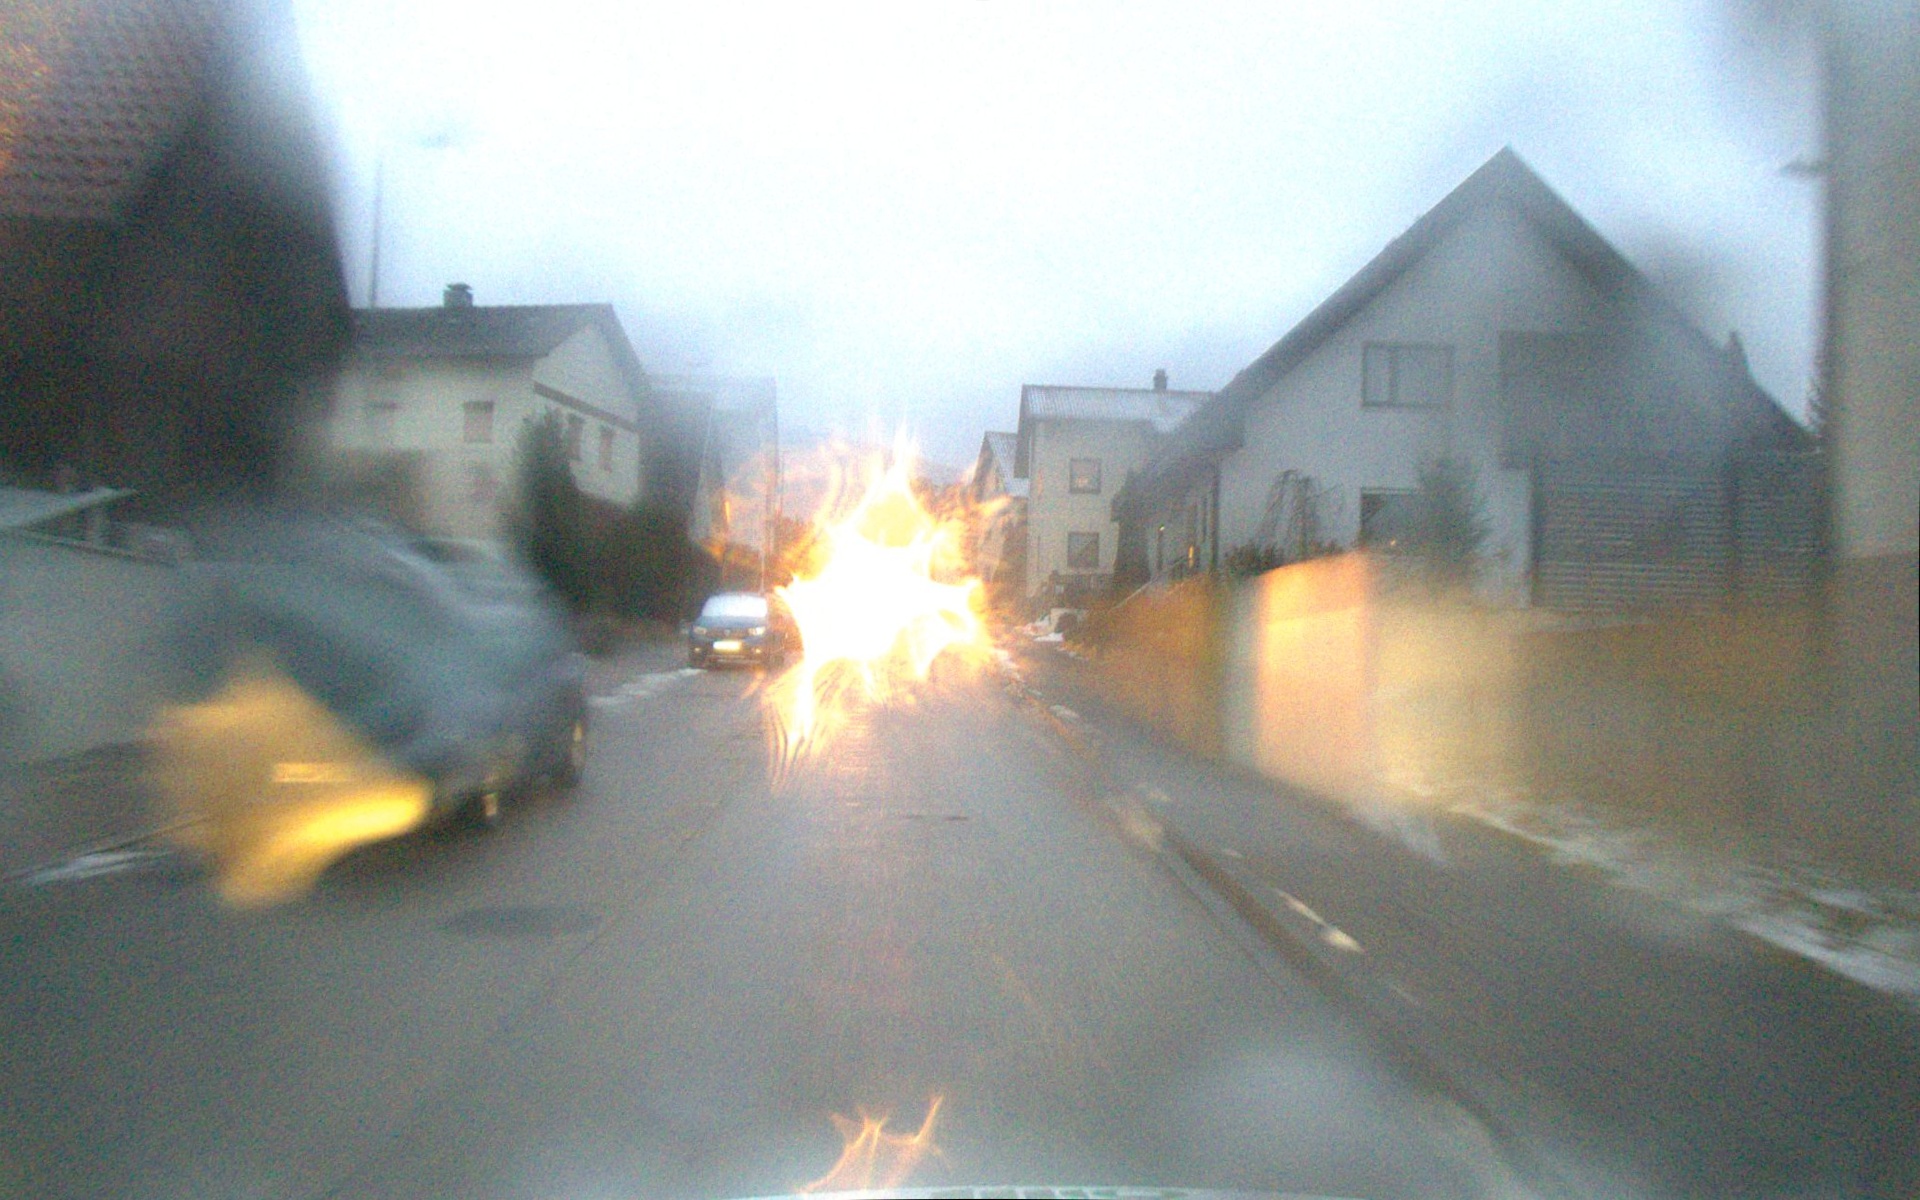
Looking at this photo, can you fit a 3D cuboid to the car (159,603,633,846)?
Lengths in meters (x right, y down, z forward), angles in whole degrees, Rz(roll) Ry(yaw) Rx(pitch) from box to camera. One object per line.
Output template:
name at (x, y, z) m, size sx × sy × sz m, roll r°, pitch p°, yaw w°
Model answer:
car at (-3.802, 0.778, 12.232) m, size 1.839 × 1.419 × 5.073 m, roll 0°, pitch -1°, yaw -1°

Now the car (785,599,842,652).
car at (-5.320, 0.911, 60.428) m, size 1.789 × 1.867 × 4.343 m, roll 0°, pitch 0°, yaw -1°

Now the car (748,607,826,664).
car at (-4.859, 0.970, 46.939) m, size 1.757 × 1.530 × 4.309 m, roll 0°, pitch 0°, yaw 0°

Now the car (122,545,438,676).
car at (-10.244, 0.160, 25.132) m, size 3.904 × 1.777 × 2.001 m, roll 2°, pitch -1°, yaw 2°

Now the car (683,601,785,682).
car at (-4.730, 0.864, 35.060) m, size 1.649 × 1.612 × 4.174 m, roll 0°, pitch -1°, yaw -1°

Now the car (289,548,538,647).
car at (-10.049, -0.041, 30.602) m, size 3.904 × 1.646 × 1.889 m, roll 2°, pitch -1°, yaw 2°

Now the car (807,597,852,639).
car at (-5.897, 0.796, 74.929) m, size 1.954 × 1.832 × 3.997 m, roll 0°, pitch 0°, yaw -4°

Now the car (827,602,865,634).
car at (-6.374, 1.043, 92.921) m, size 1.953 × 1.679 × 3.998 m, roll -1°, pitch -2°, yaw -2°
